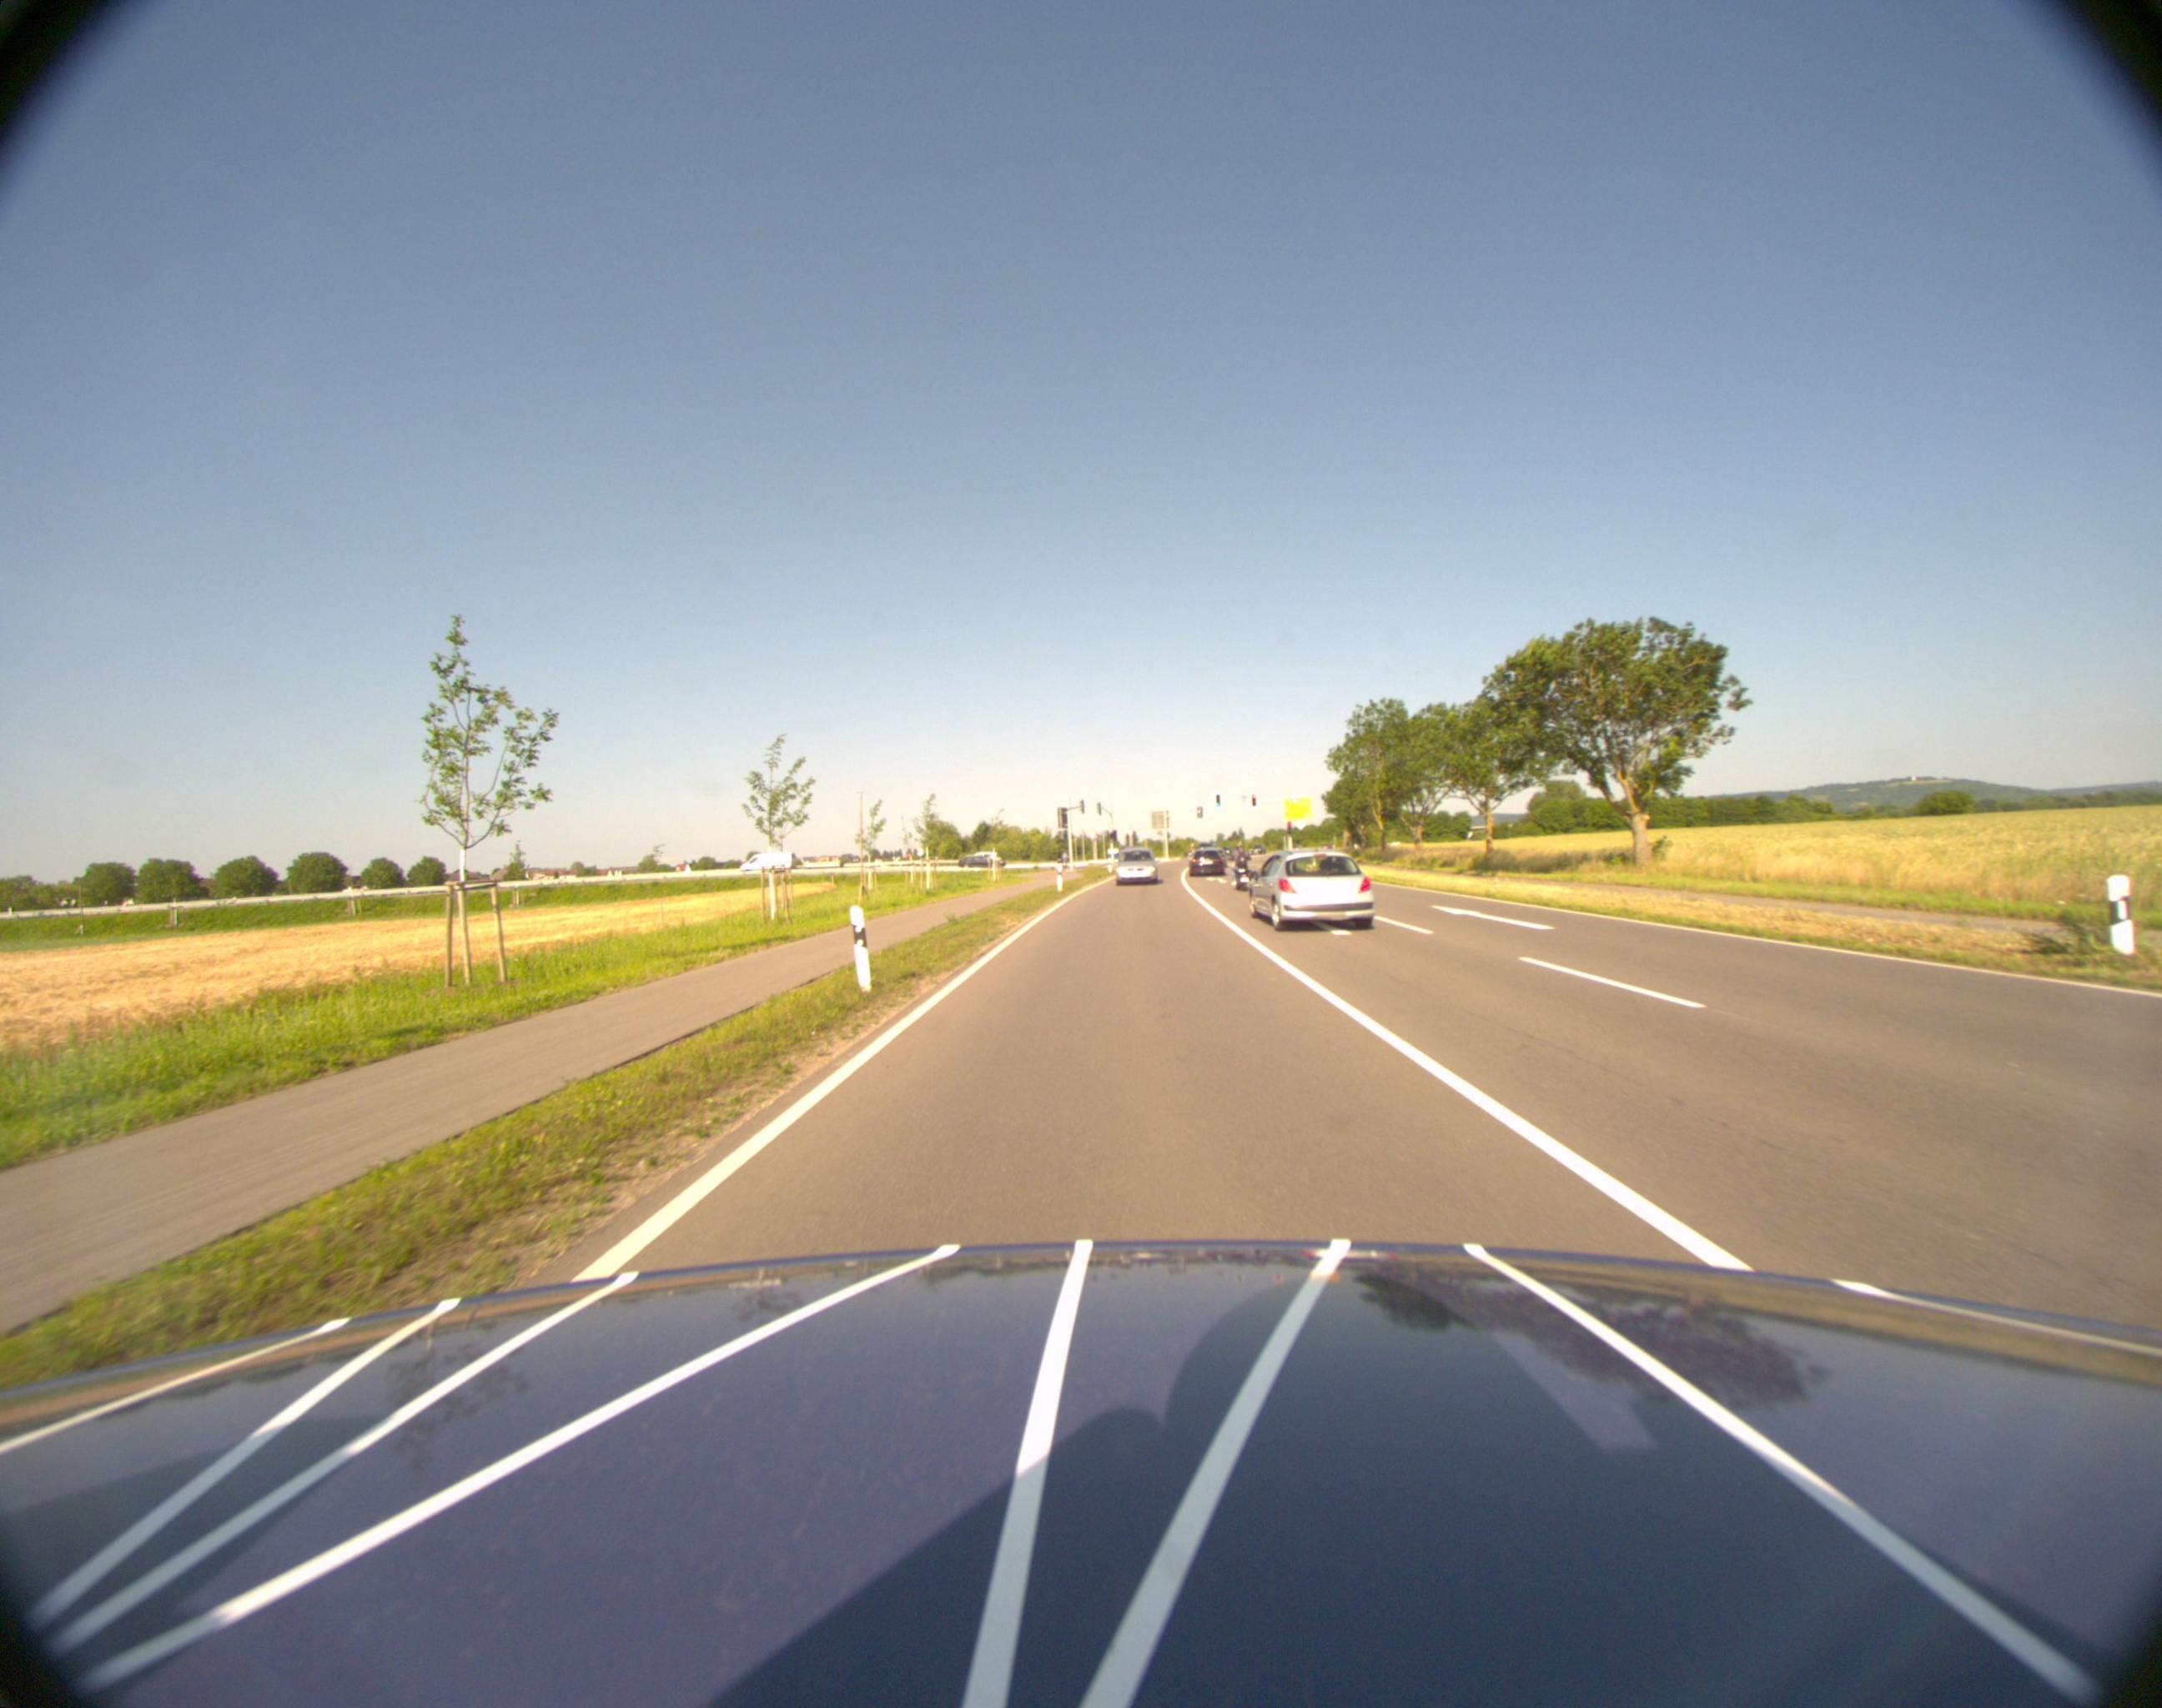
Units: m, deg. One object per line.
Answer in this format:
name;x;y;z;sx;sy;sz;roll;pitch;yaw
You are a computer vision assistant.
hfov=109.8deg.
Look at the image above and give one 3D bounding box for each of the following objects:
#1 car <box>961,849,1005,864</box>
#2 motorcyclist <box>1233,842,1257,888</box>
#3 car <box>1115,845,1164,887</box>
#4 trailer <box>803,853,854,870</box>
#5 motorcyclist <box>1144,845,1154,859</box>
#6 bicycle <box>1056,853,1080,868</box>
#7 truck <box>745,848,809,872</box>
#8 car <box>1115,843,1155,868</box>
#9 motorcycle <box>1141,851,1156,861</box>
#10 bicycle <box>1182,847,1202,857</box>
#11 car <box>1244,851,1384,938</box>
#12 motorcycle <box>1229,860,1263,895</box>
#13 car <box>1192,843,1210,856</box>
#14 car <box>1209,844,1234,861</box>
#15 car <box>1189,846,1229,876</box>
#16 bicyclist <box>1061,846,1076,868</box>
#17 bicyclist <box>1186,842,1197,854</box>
car;-11.054;0.266;85.835;4.705;1.483;1.764;-2;1;-1
motorcyclist;5.522;0.359;25.628;0.679;1.486;0.847;-2;1;6
car;2.661;0.497;33.810;1.754;1.685;4.218;-2;0;10
trailer;-28.194;0.837;84.924;5.009;1.728;1.980;-2;1;-3
motorcyclist;7.209;-0.207;80.860;0.681;1.506;1.180;-2;1;-11
bicycle;-1.104;0.553;65.010;1.947;1.145;0.679;-7;4;-32
truck;-33.825;0.686;84.650;6.195;2.391;2.070;-2;1;-3
car;4.217;0.089;60.299;1.694;1.826;4.692;-3;1;-14
motorcycle;7.236;0.201;81.122;0.900;1.037;2.426;-2;0;-11
bicycle;13.186;-0.244;90.359;2.147;1.143;1.074;-1;2;15
car;4.328;0.676;14.739;1.690;1.395;4.000;-1;1;4
motorcycle;5.491;0.754;25.433;0.873;1.067;1.969;-2;1;6
car;15.657;-0.588;99.103;1.859;1.533;4.004;-2;0;15
car;13.067;-0.185;70.705;1.892;1.458;4.280;-1;1;16
car;6.951;0.353;40.944;1.893;1.428;4.800;-2;1;12
bicyclist;-1.082;0.242;64.992;0.919;1.756;0.618;-7;4;-32
bicyclist;13.143;-0.721;90.342;1.072;1.344;0.859;-1;2;15
